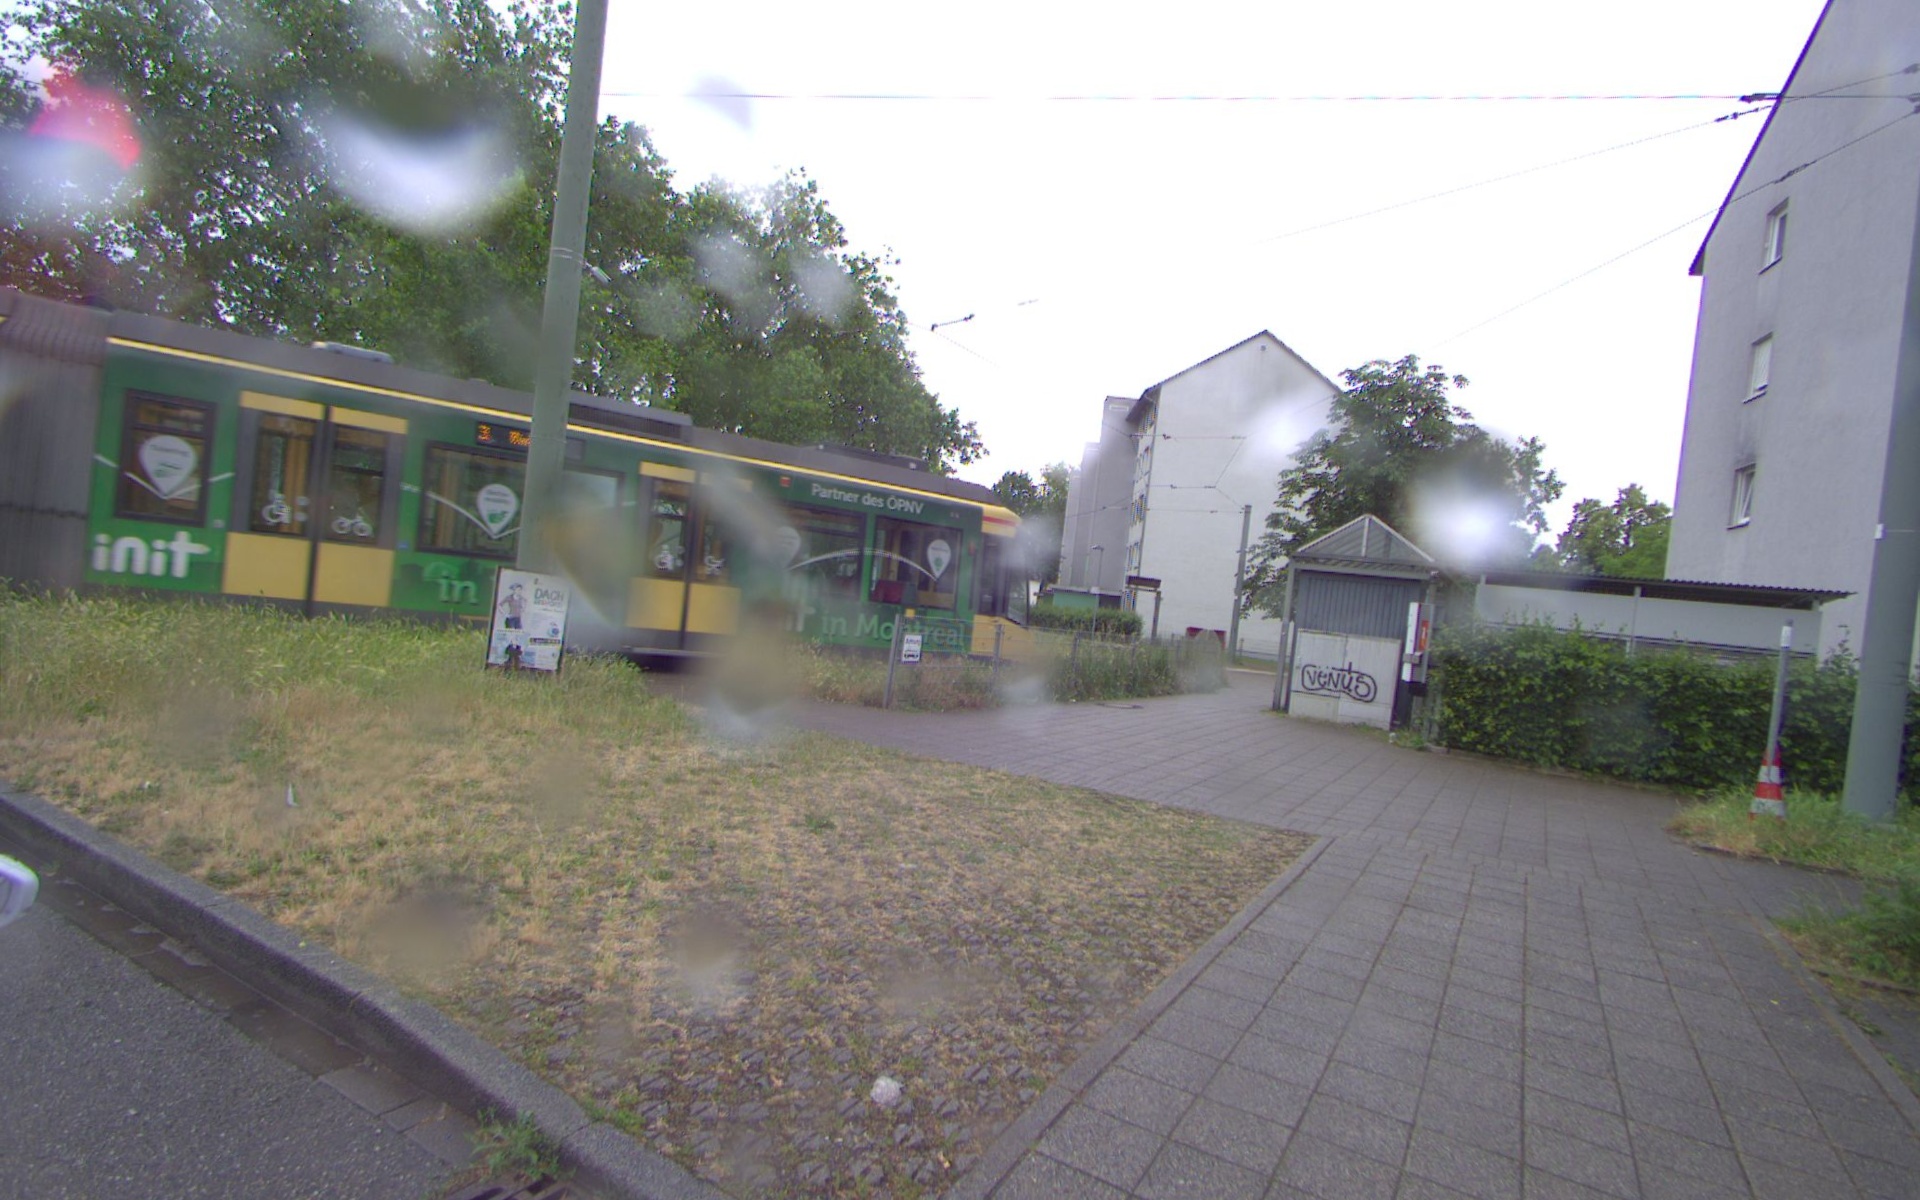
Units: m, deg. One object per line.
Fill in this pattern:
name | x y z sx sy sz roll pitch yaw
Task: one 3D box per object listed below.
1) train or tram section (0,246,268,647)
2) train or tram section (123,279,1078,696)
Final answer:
train or tram section | -10.477 -1.644 10.230 4.922 3.597 2.754 6 1 -23
train or tram section | -3.919 -0.865 14.517 12.086 3.597 2.744 7 0 -34
